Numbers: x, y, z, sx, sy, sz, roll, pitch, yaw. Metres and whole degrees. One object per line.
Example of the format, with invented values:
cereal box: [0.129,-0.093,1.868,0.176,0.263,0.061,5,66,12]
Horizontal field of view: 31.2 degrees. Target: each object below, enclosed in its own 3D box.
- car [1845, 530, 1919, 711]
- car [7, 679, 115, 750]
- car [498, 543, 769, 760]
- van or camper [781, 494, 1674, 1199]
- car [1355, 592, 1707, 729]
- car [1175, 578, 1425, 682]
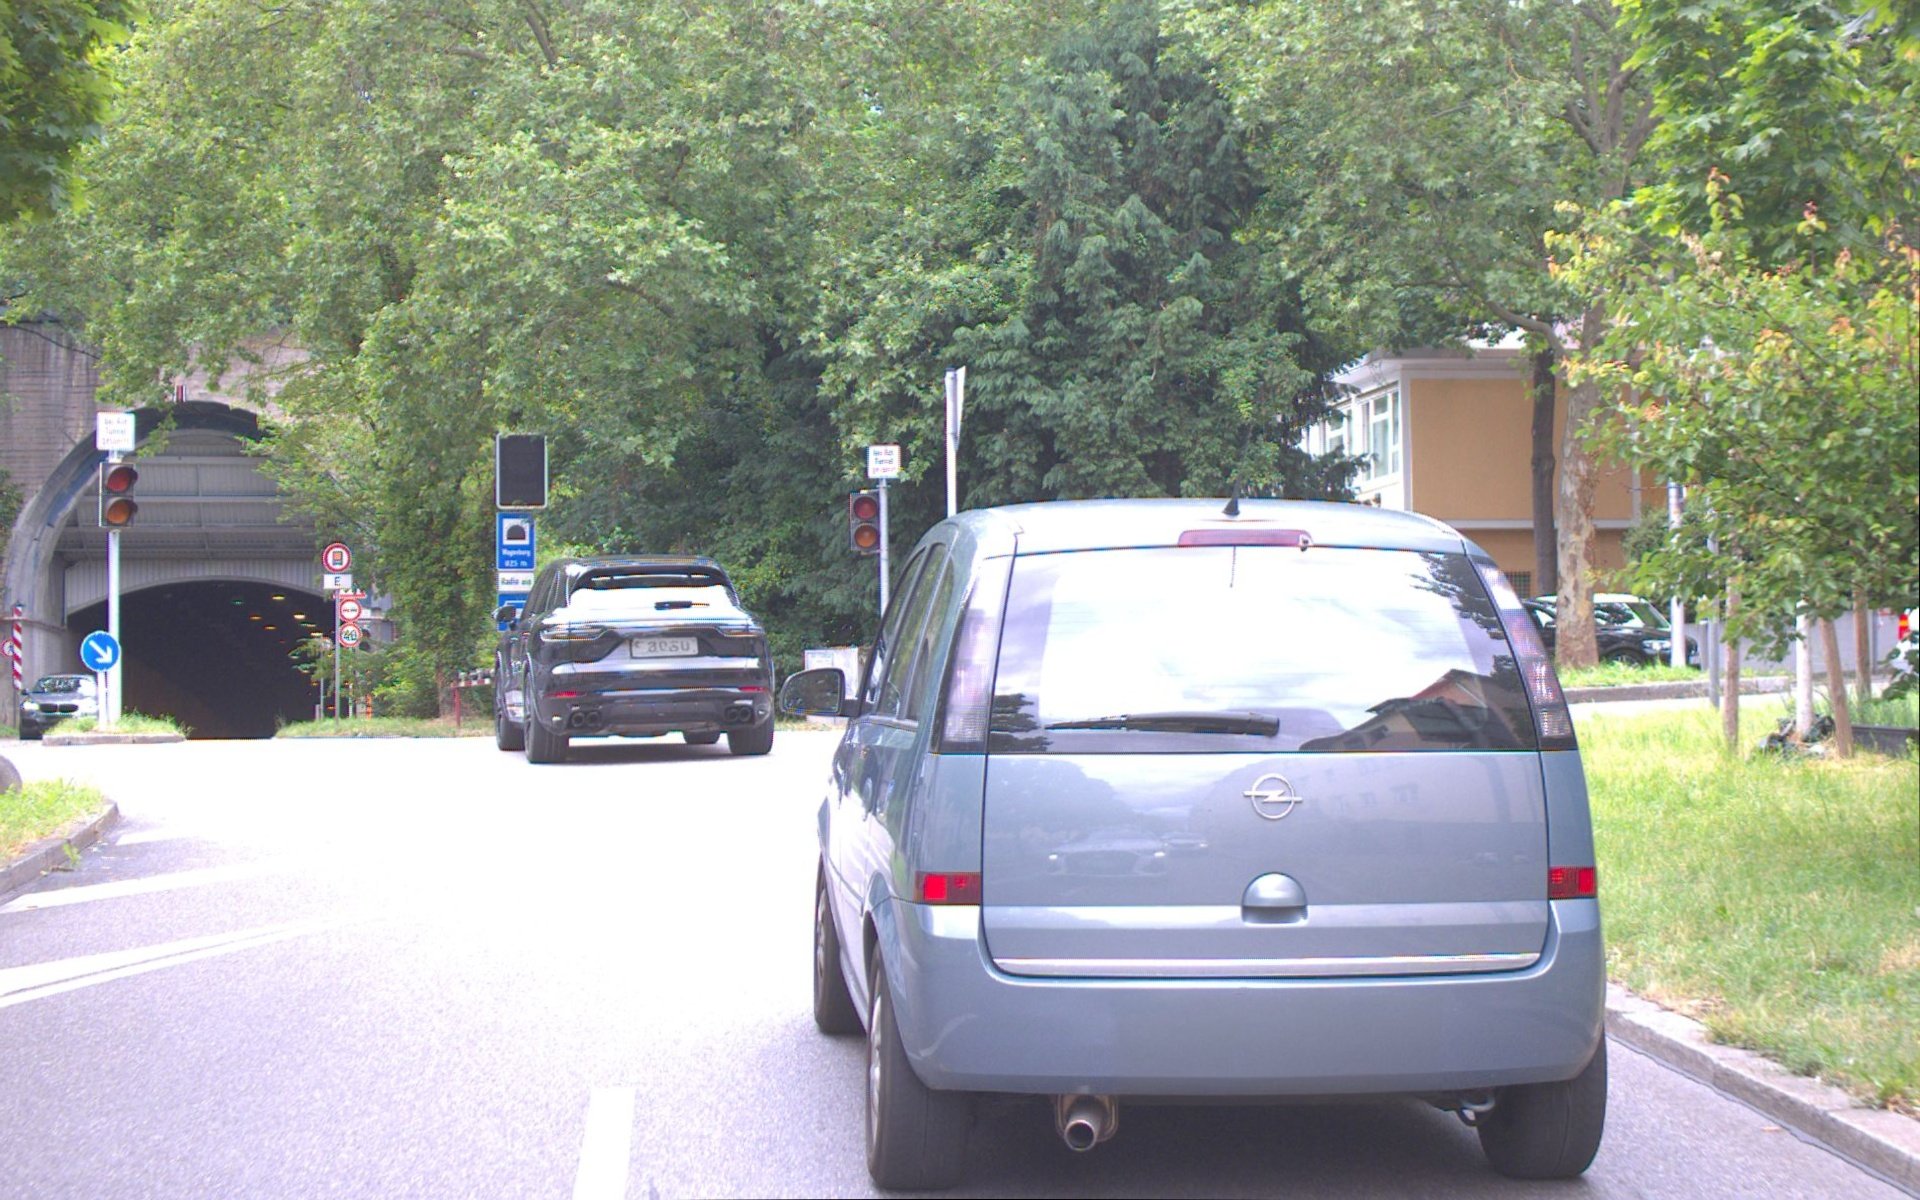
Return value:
car: [9.539,0.108,28.084,4.116,1.423,1.863,-2,1,-20]
car: [-22.177,2.823,84.952,1.869,1.693,4.936,-1,-2,-6]
car: [-2.813,0.404,28.846,1.993,1.647,4.001,-1,0,-9]
van or camper: [0.476,0.534,8.984,1.735,1.572,3.647,-2,2,-5]
car: [8.045,0.856,48.523,4.418,1.480,1.860,-6,-1,28]
car: [5.636,0.535,57.655,1.993,1.573,4.905,-1,-2,-23]
